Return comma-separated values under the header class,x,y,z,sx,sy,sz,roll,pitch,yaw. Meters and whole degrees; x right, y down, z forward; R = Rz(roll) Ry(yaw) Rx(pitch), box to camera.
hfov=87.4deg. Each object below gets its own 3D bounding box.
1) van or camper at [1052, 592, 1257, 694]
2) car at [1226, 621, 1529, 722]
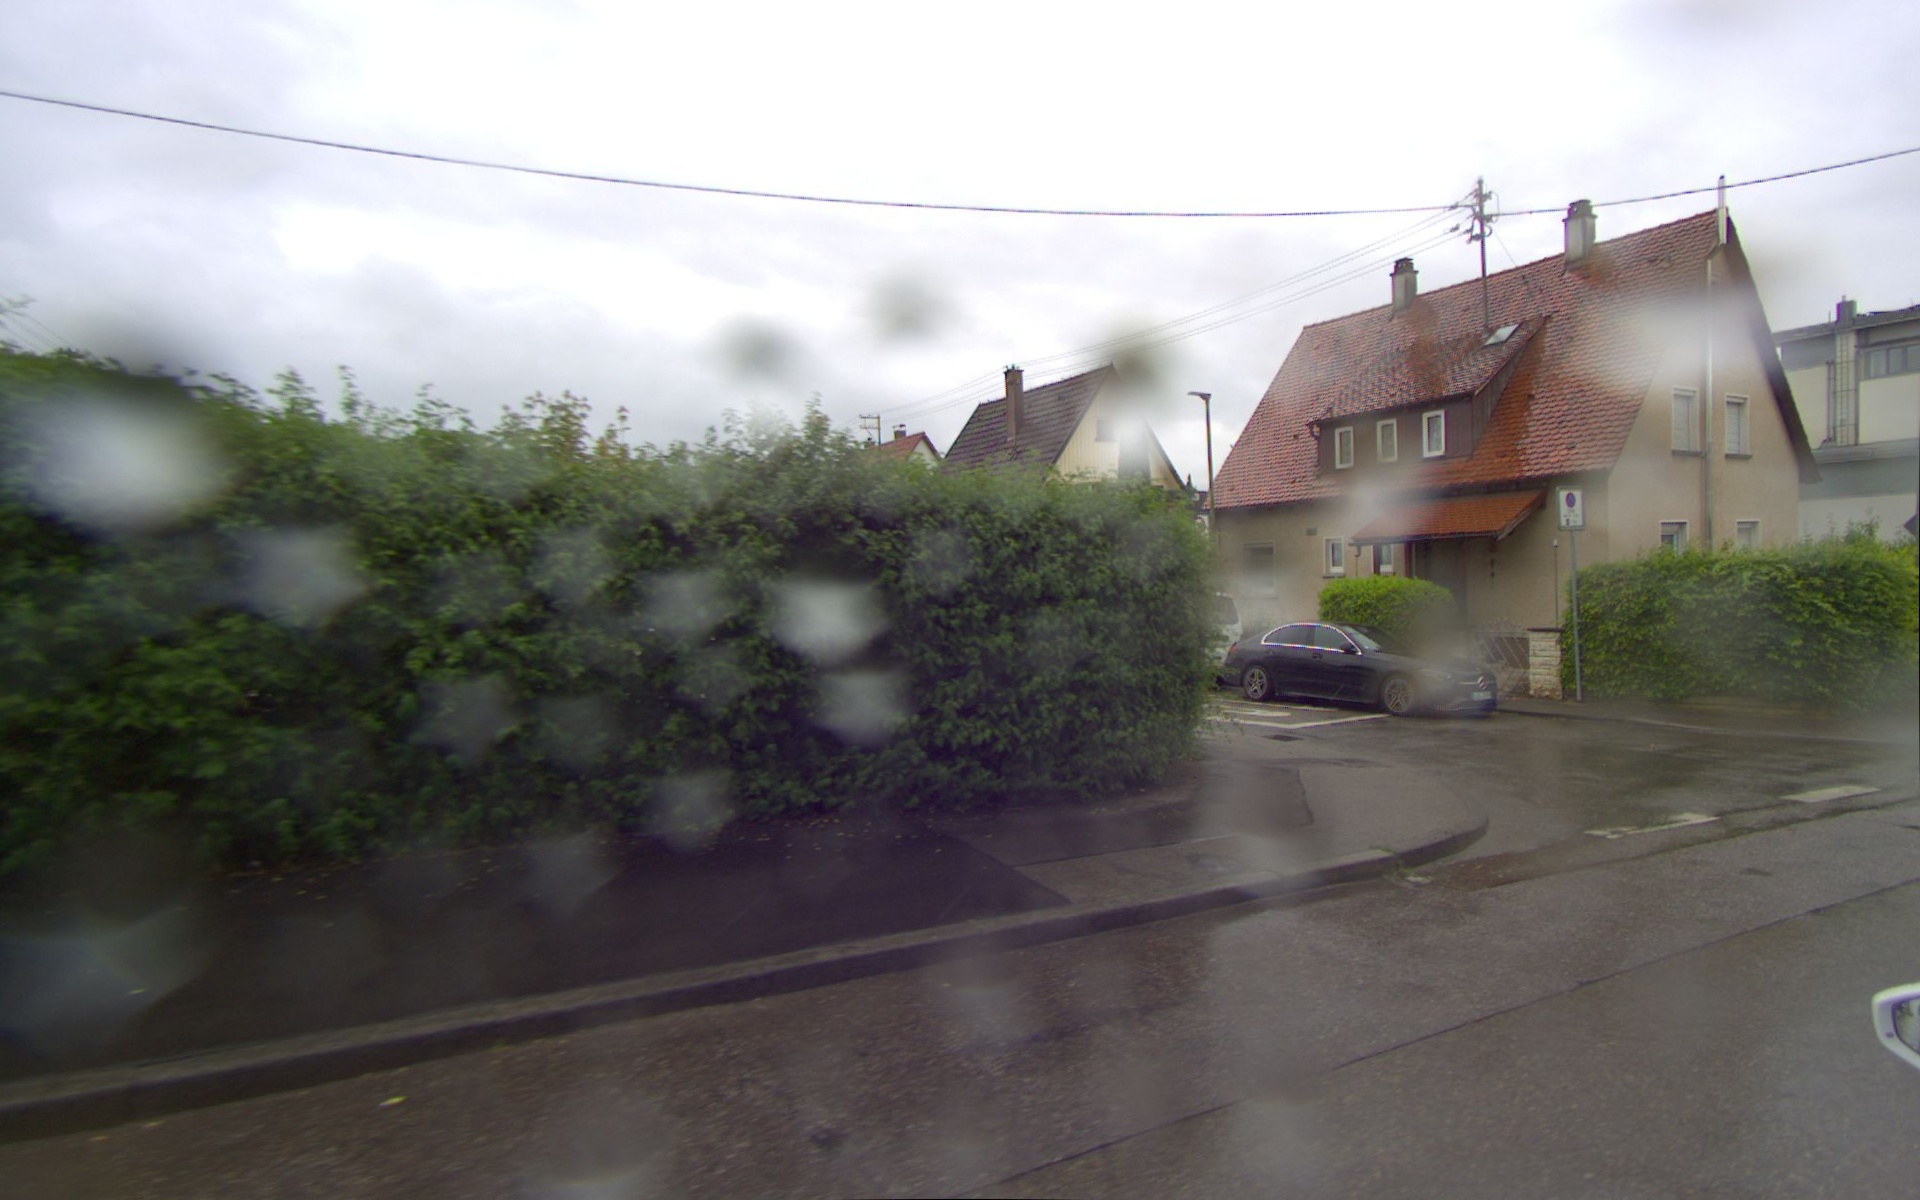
class,x,y,z,sx,sy,sz,roll,pitch,yaw
van or camper,4.068,0.857,21.763,1.912,1.956,4.528,0,-1,-29
car,6.793,1.083,16.903,1.871,1.417,4.561,0,-1,-29
